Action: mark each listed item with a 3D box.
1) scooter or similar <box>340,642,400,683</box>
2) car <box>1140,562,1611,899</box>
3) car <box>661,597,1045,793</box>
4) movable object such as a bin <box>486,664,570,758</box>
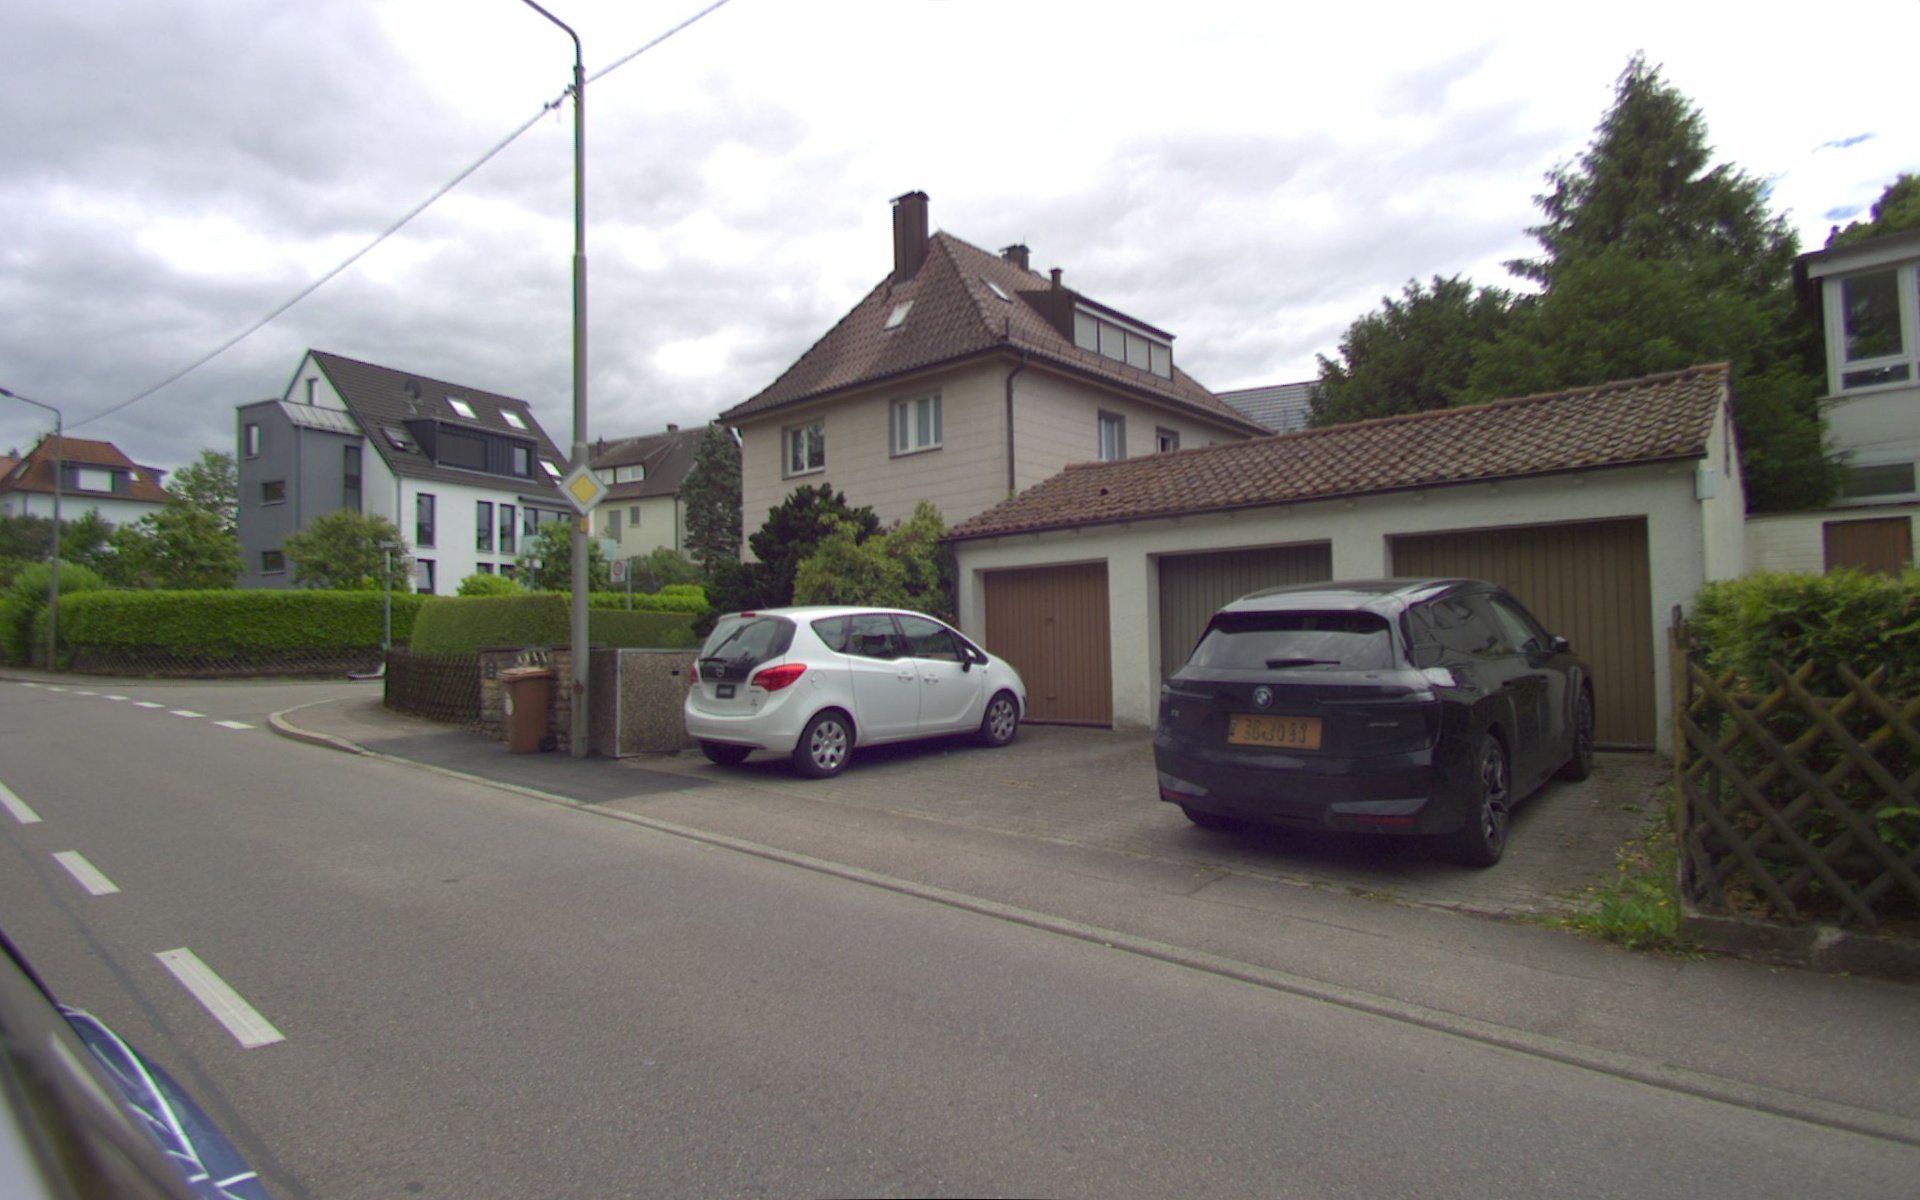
[{"bbox_3d":[-17.202,1.819,29.530,0.455,1.109,1.435,2,1,41],"label":"scooter or similar"},{"bbox_3d":[3.329,0.614,7.438,1.881,1.682,4.624,-2,0,40],"label":"car"},{"bbox_3d":[-0.967,0.830,10.800,1.718,1.606,3.946,-2,0,41],"label":"car"},{"bbox_3d":[-4.768,1.201,11.178,0.572,0.961,0.680,-2,-2,42],"label":"movable object such as a bin"}]
